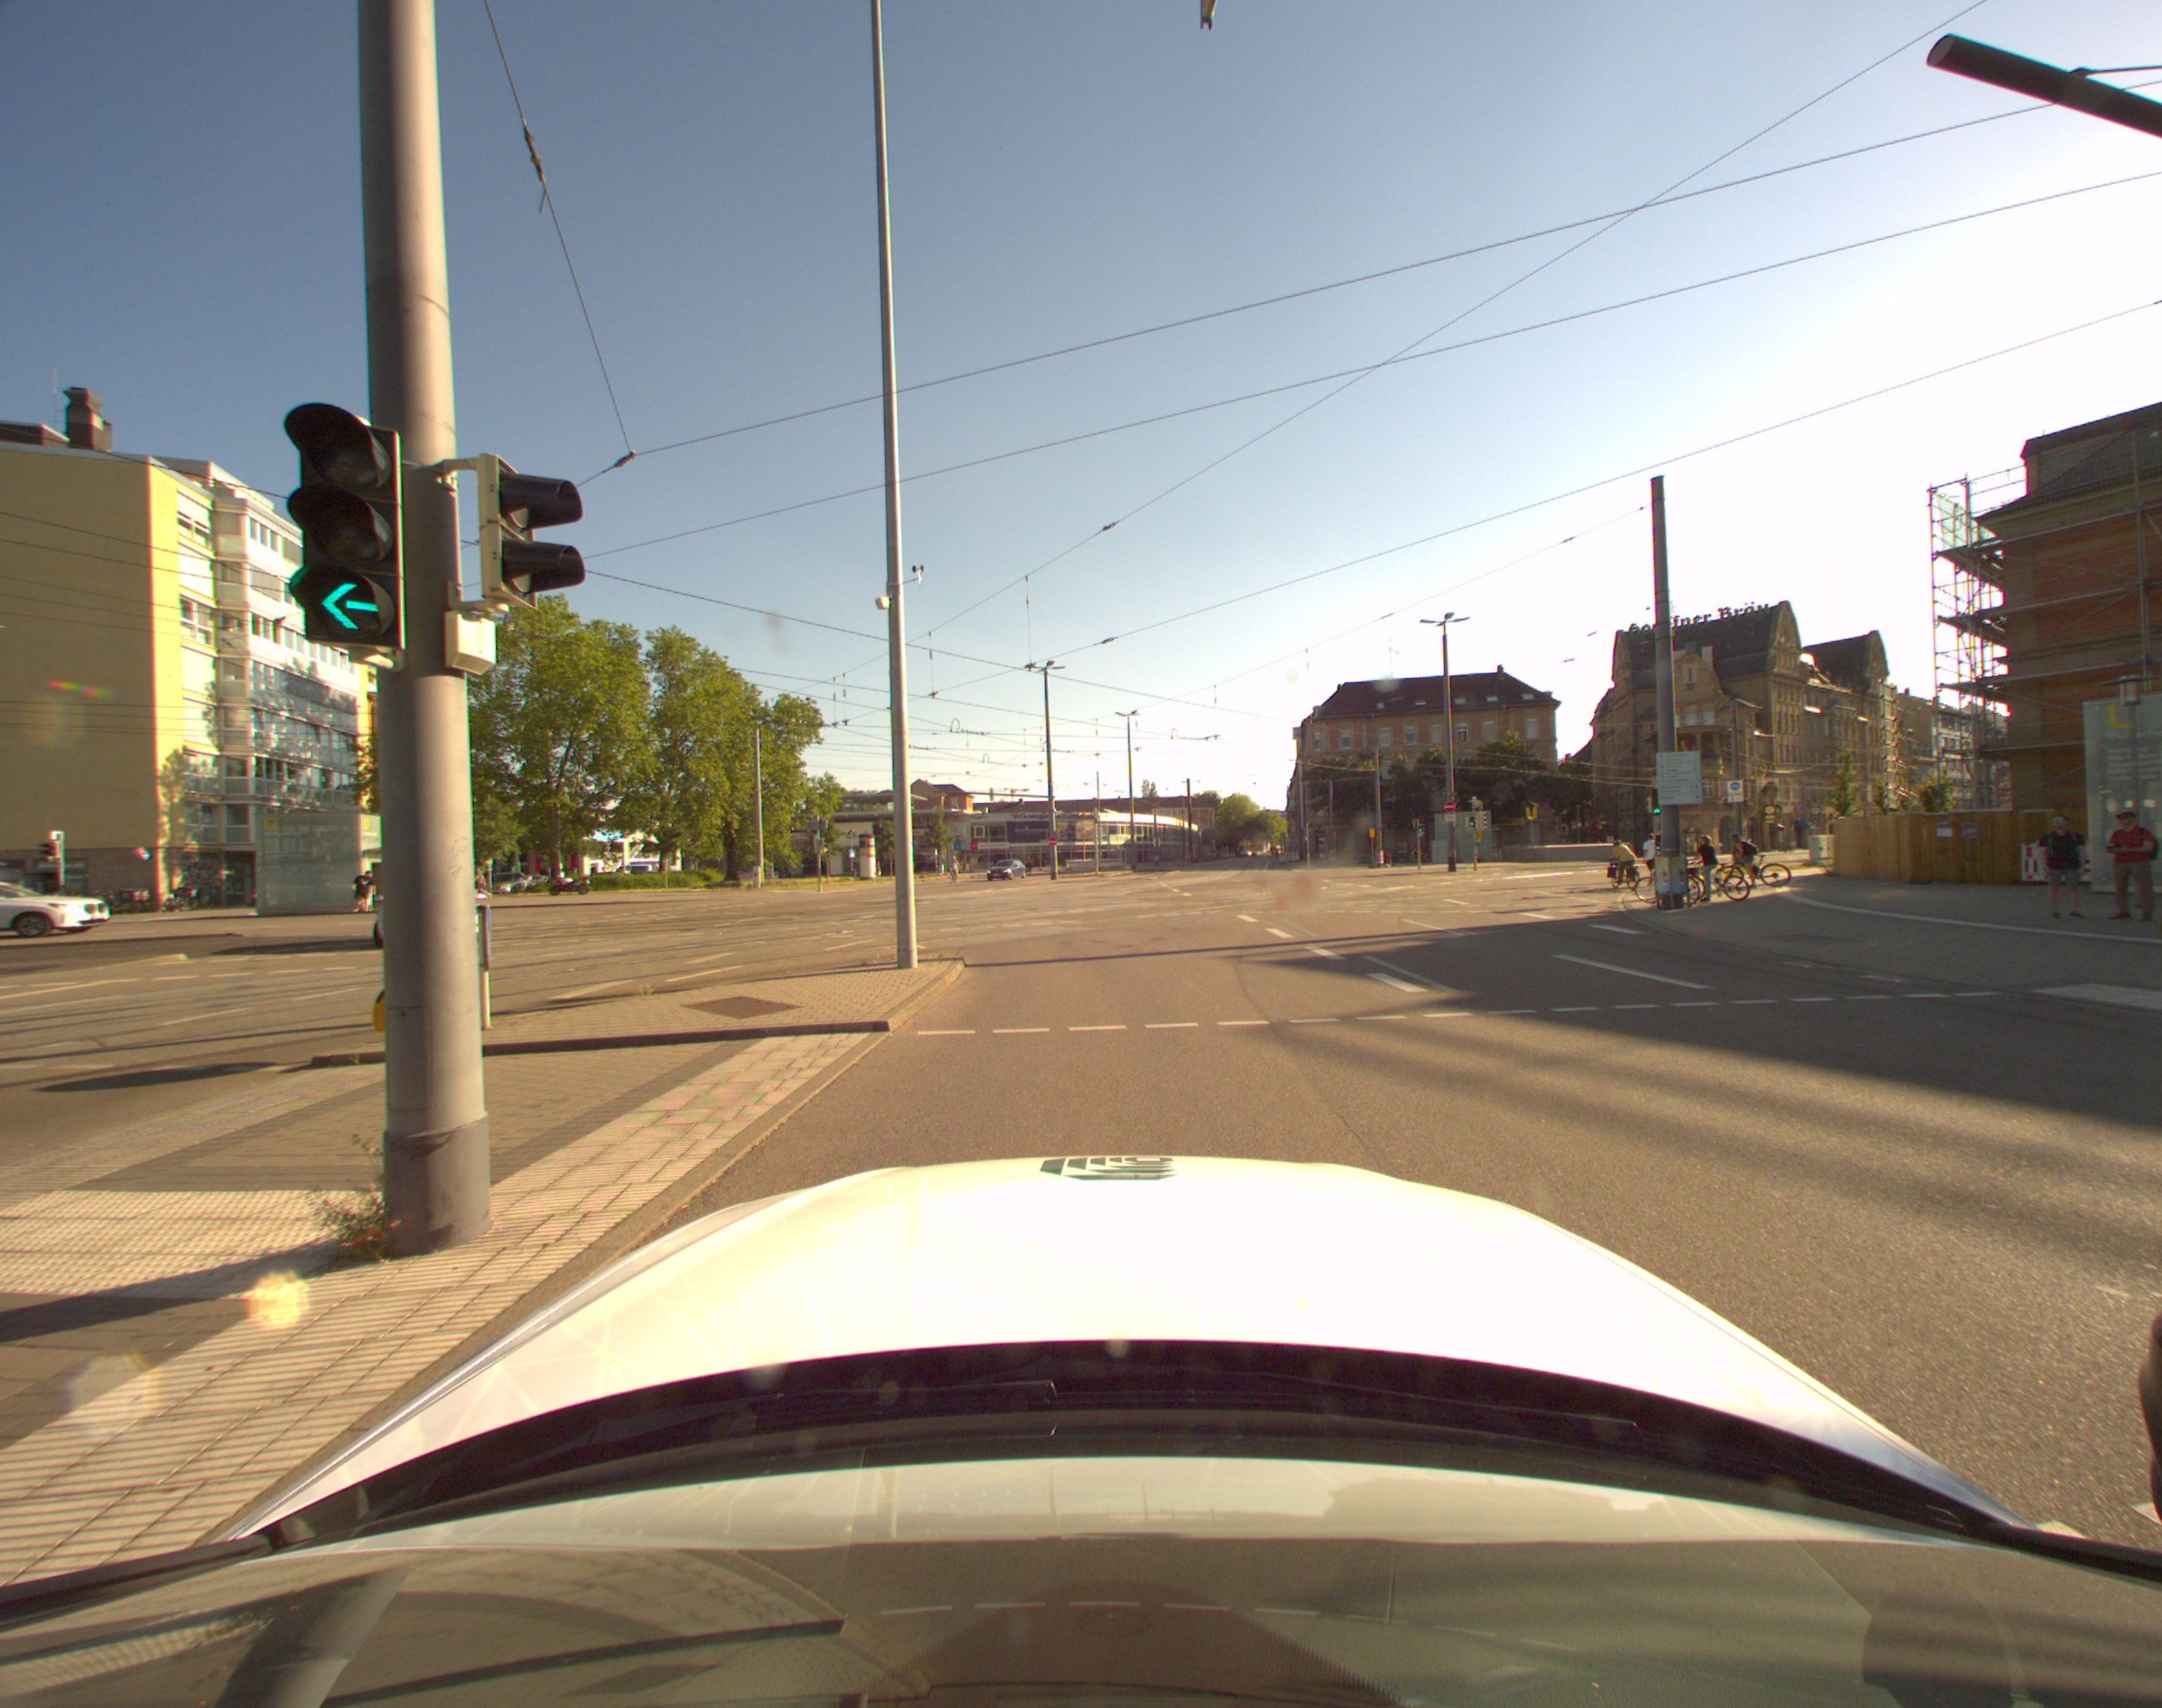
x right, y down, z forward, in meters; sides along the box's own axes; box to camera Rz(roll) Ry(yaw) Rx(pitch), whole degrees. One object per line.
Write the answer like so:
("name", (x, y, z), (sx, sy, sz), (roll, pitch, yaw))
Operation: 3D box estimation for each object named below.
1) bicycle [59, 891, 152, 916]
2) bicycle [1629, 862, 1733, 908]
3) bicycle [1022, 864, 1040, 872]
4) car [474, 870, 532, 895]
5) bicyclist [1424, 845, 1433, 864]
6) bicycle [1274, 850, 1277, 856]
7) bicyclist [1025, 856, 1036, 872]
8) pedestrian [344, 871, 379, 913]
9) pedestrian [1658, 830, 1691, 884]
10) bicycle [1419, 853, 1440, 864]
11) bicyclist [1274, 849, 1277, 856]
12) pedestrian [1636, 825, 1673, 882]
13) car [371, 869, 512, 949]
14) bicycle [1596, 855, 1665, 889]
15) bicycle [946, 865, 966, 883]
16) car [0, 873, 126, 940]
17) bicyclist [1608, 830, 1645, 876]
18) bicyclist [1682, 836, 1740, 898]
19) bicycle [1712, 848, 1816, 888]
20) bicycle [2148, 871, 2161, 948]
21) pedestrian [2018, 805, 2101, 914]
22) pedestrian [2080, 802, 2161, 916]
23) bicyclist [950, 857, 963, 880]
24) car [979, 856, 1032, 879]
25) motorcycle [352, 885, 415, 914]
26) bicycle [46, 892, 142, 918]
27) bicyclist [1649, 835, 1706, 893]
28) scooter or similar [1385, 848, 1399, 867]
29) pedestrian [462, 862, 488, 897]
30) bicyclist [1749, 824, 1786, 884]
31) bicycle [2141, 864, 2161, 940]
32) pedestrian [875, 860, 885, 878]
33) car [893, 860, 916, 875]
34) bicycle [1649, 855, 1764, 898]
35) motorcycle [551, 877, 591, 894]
("bicycle", (-47.718, 2.419, 39.864), (3.043, 1.151, 0.637), (0, -1, -17))
("bicycle", (15.128, 0.747, 20.627), (0.698, 1.049, 2.313), (0, 0, -9))
("bicycle", (-5.012, 1.395, 81.827), (0.632, 0.870, 2.249), (-1, -1, 30))
("car", (-39.047, 1.911, 55.119), (1.773, 1.568, 3.981), (0, -1, -14))
("bicyclist", (31.626, 0.030, 74.075), (0.513, 1.700, 0.519), (0, -1, -6))
("bicycle", (33.935, -0.152, 141.948), (0.407, 0.941, 1.852), (0, -1, 13))
("bicyclist", (-5.053, 1.023, 81.766), (0.647, 1.572, 0.928), (-1, -1, 29))
("pedestrian", (-30.096, 1.588, 34.072), (0.790, 1.706, 0.760), (0, -1, 7))
("pedestrian", (21.330, 0.125, 29.273), (0.646, 1.922, 0.688), (0, -1, -7))
("bicycle", (31.689, 0.428, 74.049), (1.593, 0.952, 0.657), (0, -1, -8))
("bicyclist", (33.939, -0.254, 141.932), (0.405, 1.116, 0.400), (0, -1, 11))
("pedestrian", (20.586, -0.012, 29.237), (0.730, 2.014, 0.759), (0, -1, -7))
("car", (-15.217, 1.199, 19.656), (1.790, 1.662, 4.678), (0, -1, -27))
("bicycle", (18.459, 0.578, 27.417), (0.534, 1.049, 2.314), (0, 0, -8))
("bicycle", (-8.741, 1.397, 56.976), (0.607, 1.189, 1.877), (0, -1, 18))
("car", (-31.896, 1.585, 23.722), (4.913, 1.824, 1.986), (-2, -1, -21))
("bicyclist", (18.443, -0.027, 27.542), (0.514, 1.557, 0.944), (0, -1, -8))
("bicyclist", (16.143, 0.326, 20.895), (0.711, 1.557, 0.940), (0, -1, -24))
("bicycle", (20.339, 0.419, 24.318), (2.290, 1.049, 0.539), (-5, -1, 34))
("bicycle", (14.028, 0.677, 9.386), (0.657, 0.963, 2.031), (-3, -1, -5))
("pedestrian", (16.798, 0.092, 13.982), (0.672, 1.807, 0.680), (-2, 0, -21))
("pedestrian", (17.020, 0.081, 13.311), (0.672, 1.807, 0.680), (0, -1, -21))
("bicyclist", (-8.734, 0.992, 57.028), (0.593, 1.615, 0.826), (0, -1, 18))
("car", (-5.383, 0.954, 58.577), (1.975, 1.585, 4.024), (-1, -1, 27))
("motorcycle", (-44.360, 2.884, 51.848), (2.678, 1.770, 1.350), (0, -1, -16))
("bicycle", (-47.504, 2.440, 39.234), (3.043, 1.151, 0.637), (0, -1, -17))
("bicyclist", (15.124, 0.249, 20.679), (0.707, 1.439, 0.944), (0, -1, -8))
("scooter or similar", (23.028, 0.280, 60.382), (0.780, 1.376, 1.915), (0, -1, 15))
("pedestrian", (-32.223, 1.347, 43.320), (0.790, 1.886, 0.760), (0, -1, 7))
("bicyclist", (20.429, 0.006, 24.256), (0.785, 1.779, 0.526), (-1, -1, 35))
("bicycle", (14.981, 0.622, 10.170), (0.662, 0.963, 2.017), (-3, 1, -27))
("pedestrian", (-19.413, 1.446, 78.706), (0.854, 1.694, 0.496), (0, -1, -2))
("car", (-20.883, 1.640, 96.437), (1.989, 1.750, 3.995), (0, -1, -3))
("bicycle", (16.088, 0.570, 21.041), (0.702, 1.049, 2.302), (0, -1, -23))
("motorcycle", (-28.740, 1.754, 45.929), (1.780, 0.914, 0.674), (0, -1, -20))
